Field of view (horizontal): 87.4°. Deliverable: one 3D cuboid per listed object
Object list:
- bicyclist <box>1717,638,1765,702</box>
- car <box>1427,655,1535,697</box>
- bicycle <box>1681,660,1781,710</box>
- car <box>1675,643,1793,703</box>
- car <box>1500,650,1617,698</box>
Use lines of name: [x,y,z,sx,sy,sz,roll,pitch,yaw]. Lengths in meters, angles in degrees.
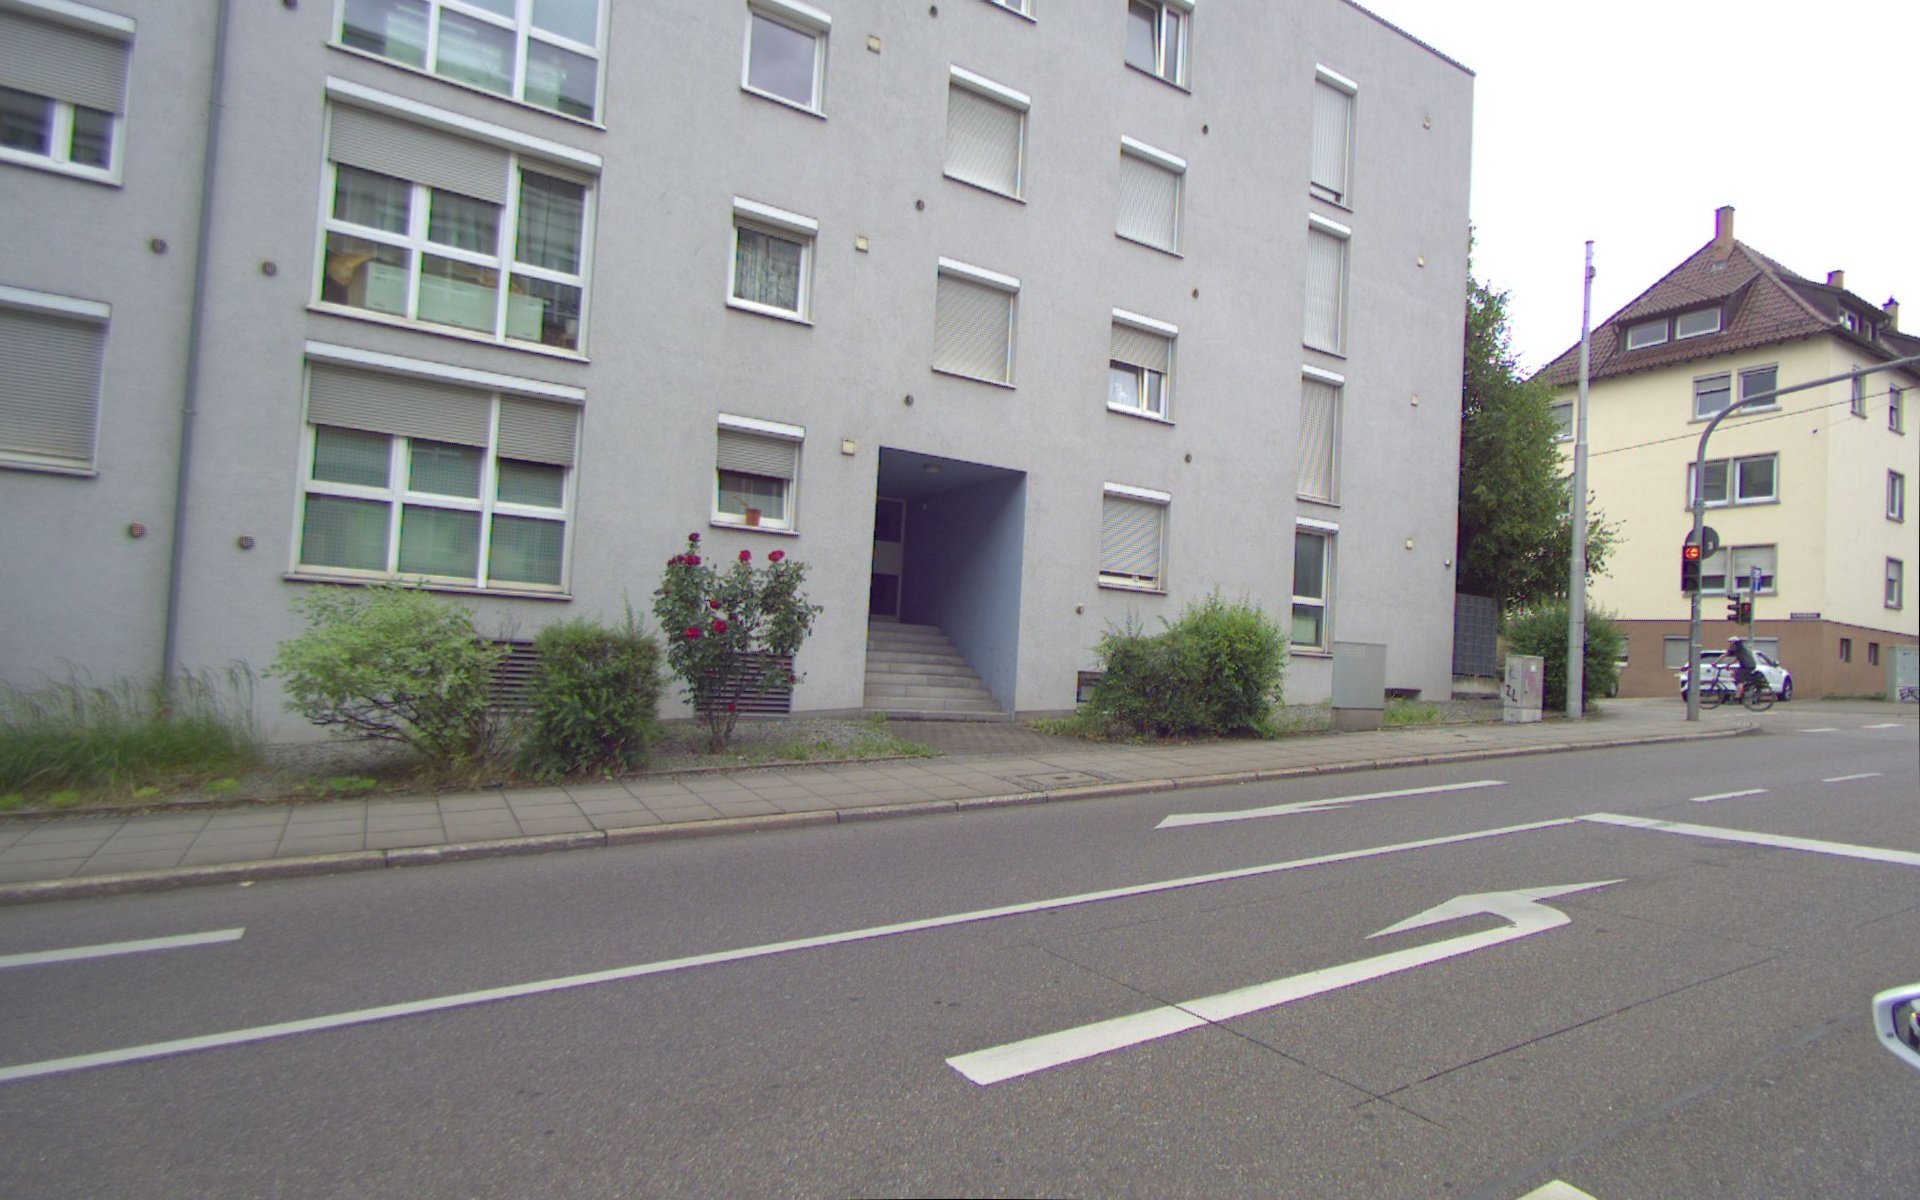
bicyclist: [19.604,1.736,25.220,0.701,1.539,0.802,2,0,-41]
car: [19.023,2.747,36.645,3.953,1.380,1.662,2,-1,-30]
bicycle: [19.459,2.127,25.369,0.697,1.095,1.889,2,0,-41]
car: [23.271,2.164,30.160,3.960,1.683,1.660,2,-4,-35]
car: [20.508,2.509,34.403,4.053,1.566,1.662,2,-4,-30]
